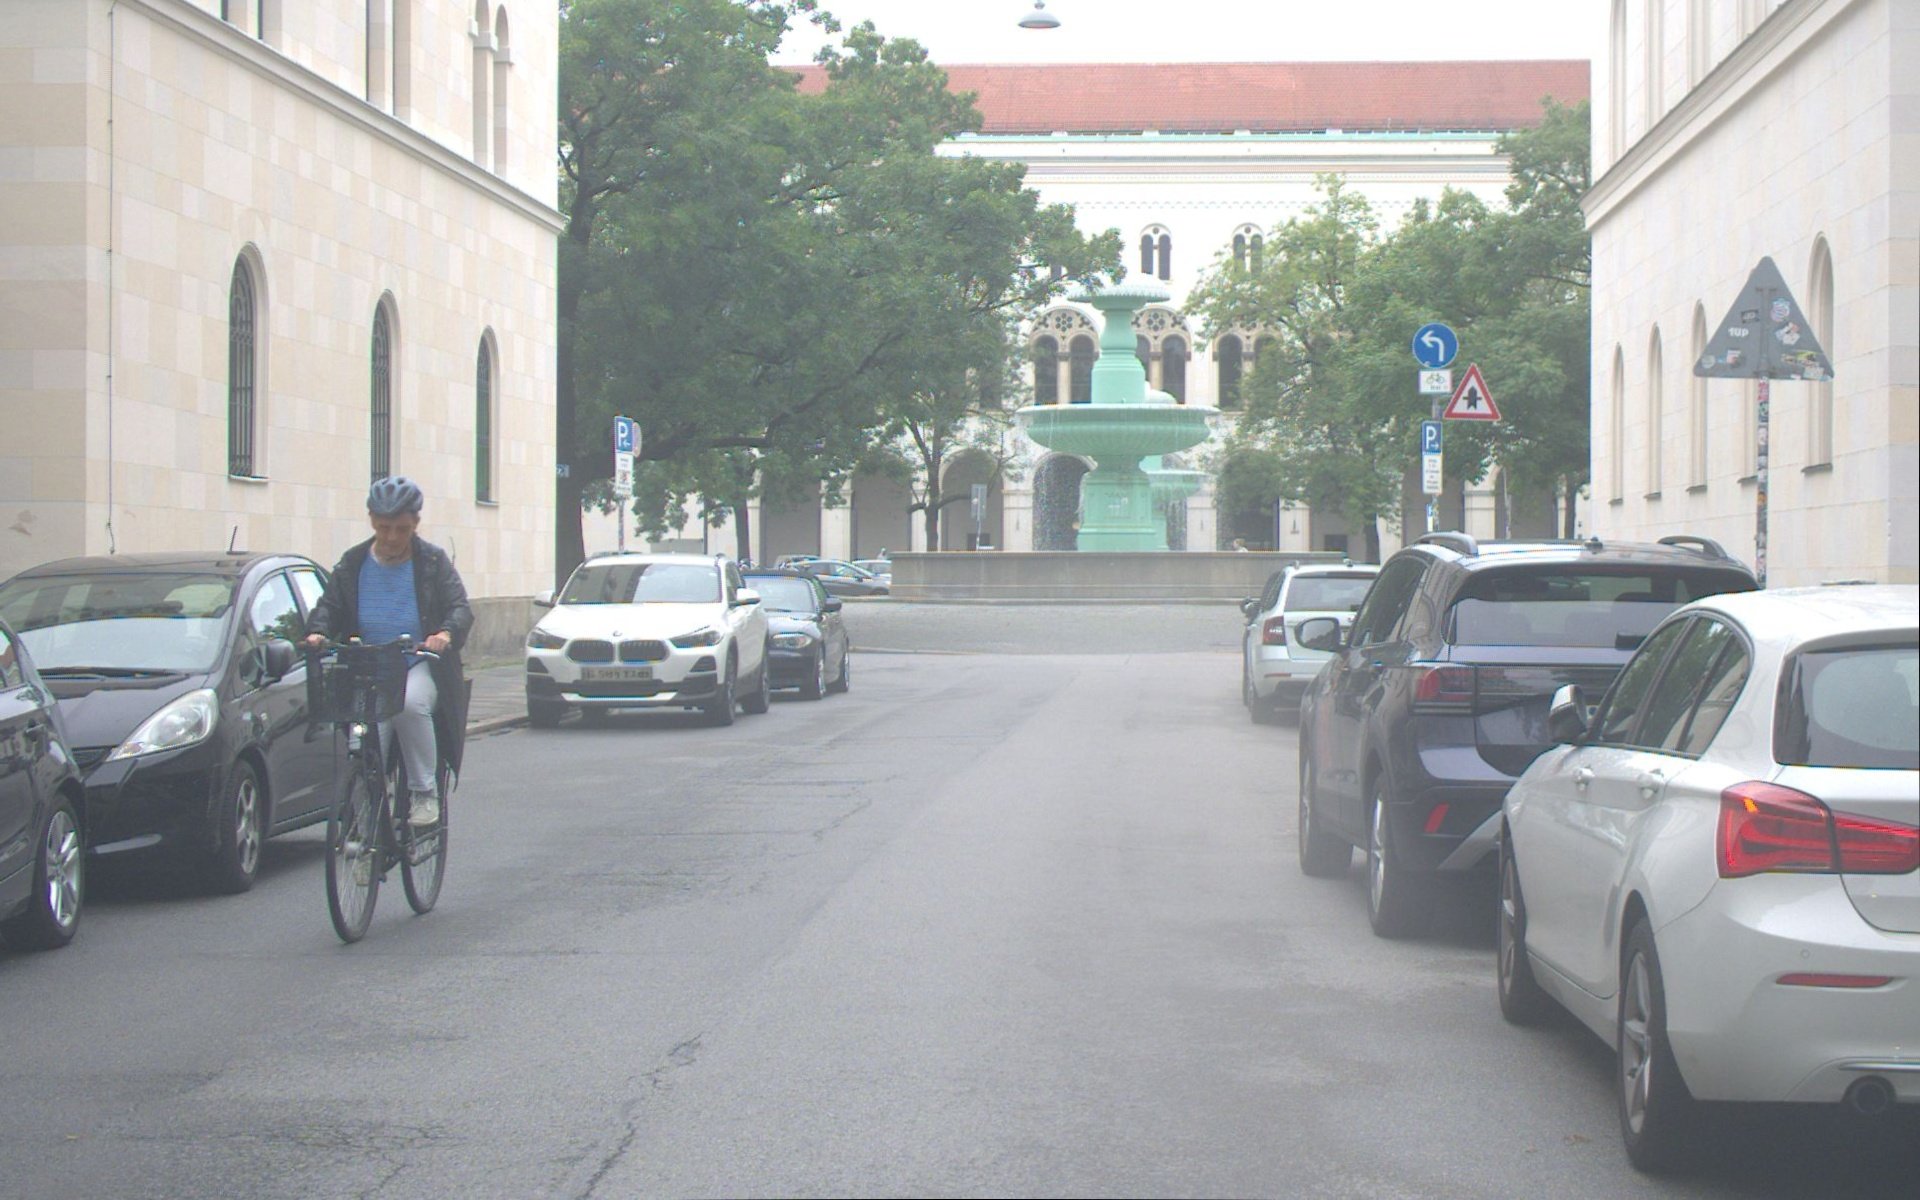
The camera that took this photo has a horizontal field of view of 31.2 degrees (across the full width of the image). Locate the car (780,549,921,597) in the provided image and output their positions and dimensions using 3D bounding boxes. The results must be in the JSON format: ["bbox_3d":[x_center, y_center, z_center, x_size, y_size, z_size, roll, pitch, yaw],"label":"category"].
[{"bbox_3d":[-3.190,-0.804,100.542,3.987,1.371,2.000,0,1,3],"label":"car"}]

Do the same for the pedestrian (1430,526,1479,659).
[{"bbox_3d":[6.739,-0.106,46.847,0.642,1.802,0.489,0,1,10],"label":"pedestrian"}]

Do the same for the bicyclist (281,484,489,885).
[{"bbox_3d":[-2.286,0.323,13.744,0.657,1.545,0.887,0,0,1],"label":"bicyclist"}]

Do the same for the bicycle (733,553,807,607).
[{"bbox_3d":[-3.975,-0.417,72.092,1.402,1.095,0.656,1,1,15],"label":"bicycle"}]

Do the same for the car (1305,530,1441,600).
[{"bbox_3d":[12.486,-1.069,104.003,3.988,2.007,2.000,1,1,7],"label":"car"}]

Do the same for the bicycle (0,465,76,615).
[{"bbox_3d":[-7.961,-0.472,27.447,1.713,1.174,0.475,0,1,13],"label":"bicycle"}]

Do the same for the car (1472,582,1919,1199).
[{"bbox_3d":[2.490,0.694,9.442,1.673,1.412,4.201,1,1,2],"label":"car"}]

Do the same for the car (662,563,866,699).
[{"bbox_3d":[-2.108,0.316,37.990,1.699,1.388,4.211,-1,0,4],"label":"car"}]

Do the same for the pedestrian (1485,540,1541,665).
[{"bbox_3d":[7.567,0.030,47.049,0.620,1.676,0.546,1,1,-2],"label":"pedestrian"}]

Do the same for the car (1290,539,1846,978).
[{"bbox_3d":[2.419,0.554,14.607,1.747,1.588,3.956,1,1,2],"label":"car"}]

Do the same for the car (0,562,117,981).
[{"bbox_3d":[-4.287,0.655,11.601,1.750,1.448,4.015,-1,2,2],"label":"car"}]

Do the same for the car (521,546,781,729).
[{"bbox_3d":[-2.769,0.317,31.657,1.778,1.529,4.211,-1,0,3],"label":"car"}]

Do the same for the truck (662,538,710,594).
[{"bbox_3d":[-12.470,-1.570,156.128,1.993,2.480,4.001,1,1,-7],"label":"truck"}]

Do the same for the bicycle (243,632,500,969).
[{"bbox_3d":[-2.305,0.750,13.674,0.648,1.193,1.950,-1,1,1],"label":"bicycle"}]

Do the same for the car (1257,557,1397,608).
[{"bbox_3d":[10.629,-0.511,99.581,3.988,1.398,1.824,0,1,6],"label":"car"}]

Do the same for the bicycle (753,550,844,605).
[{"bbox_3d":[-3.291,-0.463,70.154,1.711,1.095,0.698,1,1,15],"label":"bicycle"}]

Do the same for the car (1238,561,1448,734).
[{"bbox_3d":[3.510,0.386,32.114,1.789,1.471,4.312,1,1,5],"label":"car"}]

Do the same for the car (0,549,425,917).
[{"bbox_3d":[-3.885,0.537,16.360,1.751,1.448,4.015,-1,2,4],"label":"car"}]
